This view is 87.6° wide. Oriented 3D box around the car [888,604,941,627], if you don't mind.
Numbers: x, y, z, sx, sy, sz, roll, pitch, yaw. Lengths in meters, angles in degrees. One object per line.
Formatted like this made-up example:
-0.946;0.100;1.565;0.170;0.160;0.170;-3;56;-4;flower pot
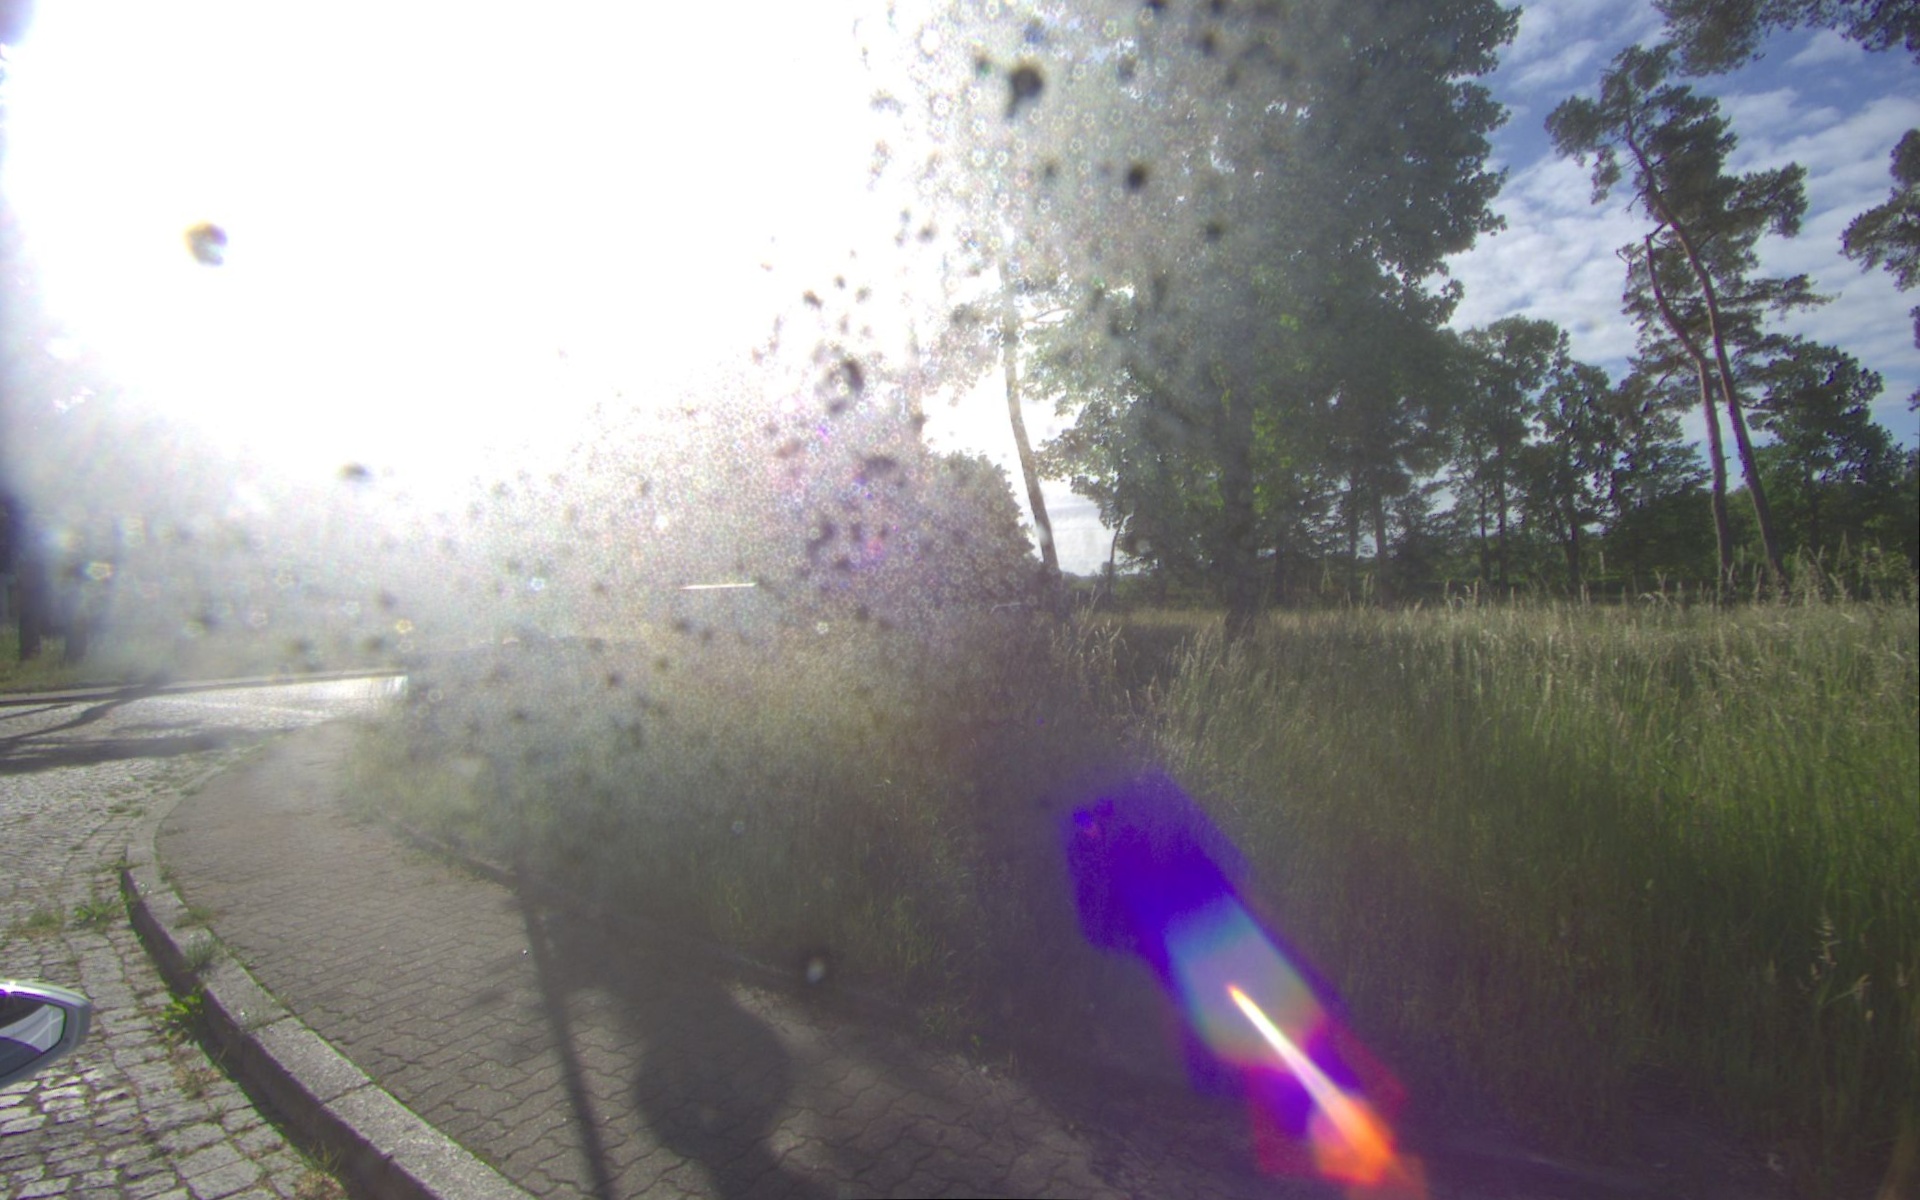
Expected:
-2.973;1.012;66.782;1.818;1.483;3.985;-1;0;26;car

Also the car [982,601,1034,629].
3.049;0.908;62.477;1.826;1.620;3.985;-1;0;26;car
